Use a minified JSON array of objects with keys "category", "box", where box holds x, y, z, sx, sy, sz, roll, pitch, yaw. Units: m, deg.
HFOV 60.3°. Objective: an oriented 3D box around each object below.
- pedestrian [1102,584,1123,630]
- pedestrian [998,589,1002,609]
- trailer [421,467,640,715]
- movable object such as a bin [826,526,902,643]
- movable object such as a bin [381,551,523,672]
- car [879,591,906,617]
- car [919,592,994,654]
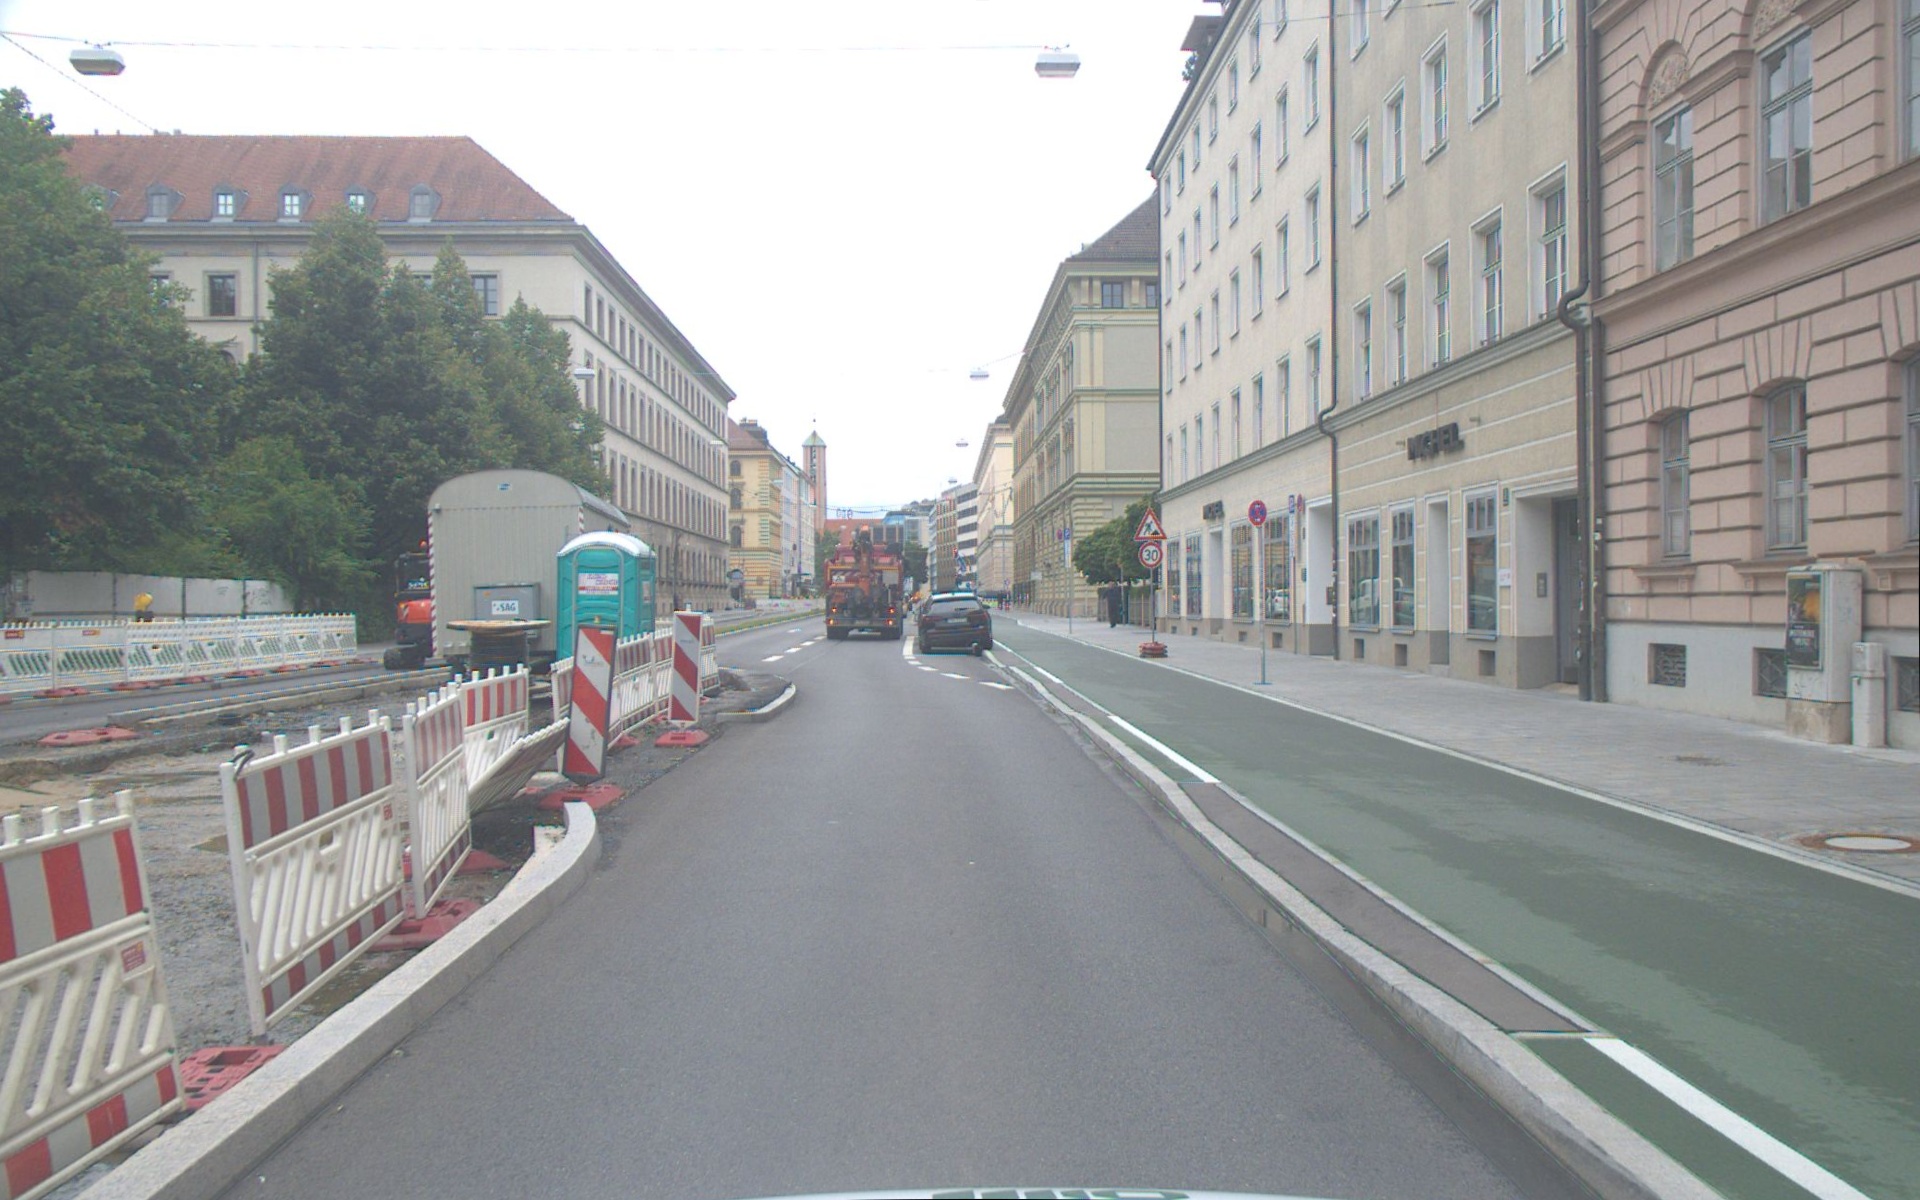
[{"category":"pedestrian","box":[6.257,0.265,68.066,0.774,1.868,0.777,-1,0,0]},{"category":"pedestrian","box":[3.393,-0.087,139.670,0.330,1.701,0.440,0,0,0]},{"category":"trailer","box":[-6.479,-0.147,25.935,2.184,3.300,7.509,-1,0,-6]},{"category":"movable object such as a bin","box":[-3.141,-0.490,55.054,2.375,3.674,5.848,0,0,-3]},{"category":"movable object such as a bin","box":[-11.617,0.220,38.144,1.884,2.617,4.492,0,0,0]},{"category":"car","box":[-4.158,0.234,101.797,1.577,1.521,3.423,0,0,-2]},{"category":"car","box":[-0.148,0.550,43.344,1.765,1.506,4.685,-1,0,-2]}]
